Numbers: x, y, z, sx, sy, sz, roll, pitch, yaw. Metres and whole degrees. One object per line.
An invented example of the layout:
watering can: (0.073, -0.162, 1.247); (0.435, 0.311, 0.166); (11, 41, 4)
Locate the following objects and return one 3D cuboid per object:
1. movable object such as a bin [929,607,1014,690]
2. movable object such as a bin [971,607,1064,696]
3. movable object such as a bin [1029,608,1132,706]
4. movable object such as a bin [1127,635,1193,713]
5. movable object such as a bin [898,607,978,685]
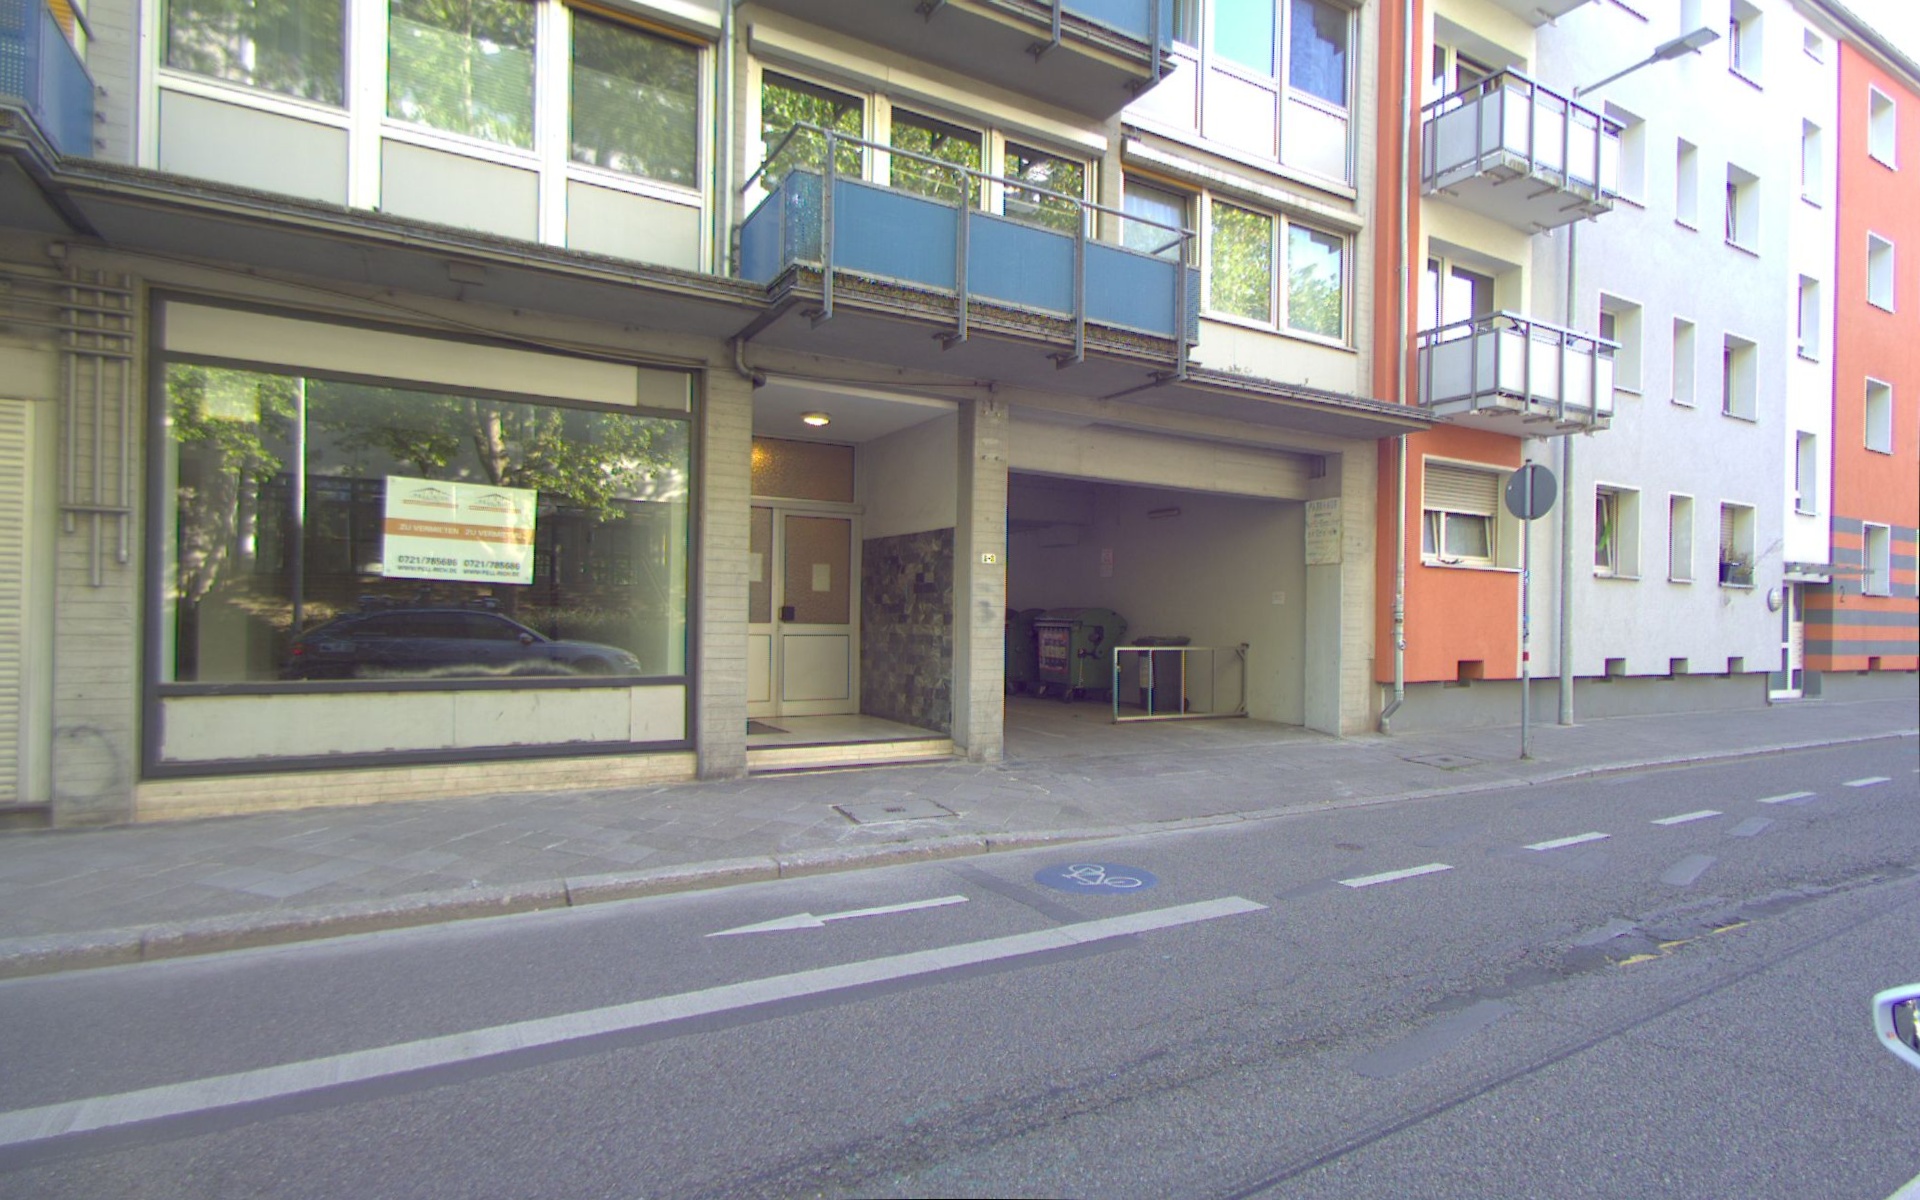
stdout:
movable object such as a bin: (0.201, 0.866, 18.463); (1.116, 1.444, 1.201); (1, 0, -30)
movable object such as a bin: (0.971, 0.860, 17.164); (1.116, 1.444, 1.201); (1, 0, -30)
movable object such as a bin: (1.883, 0.865, 15.805); (1.116, 1.444, 1.201); (1, 0, -30)
movable object such as a bin: (2.881, 1.048, 14.495); (0.667, 1.079, 0.639); (1, 0, -30)
movable object such as a bin: (-0.447, 0.873, 19.611); (1.116, 1.444, 1.201); (1, 0, -30)
